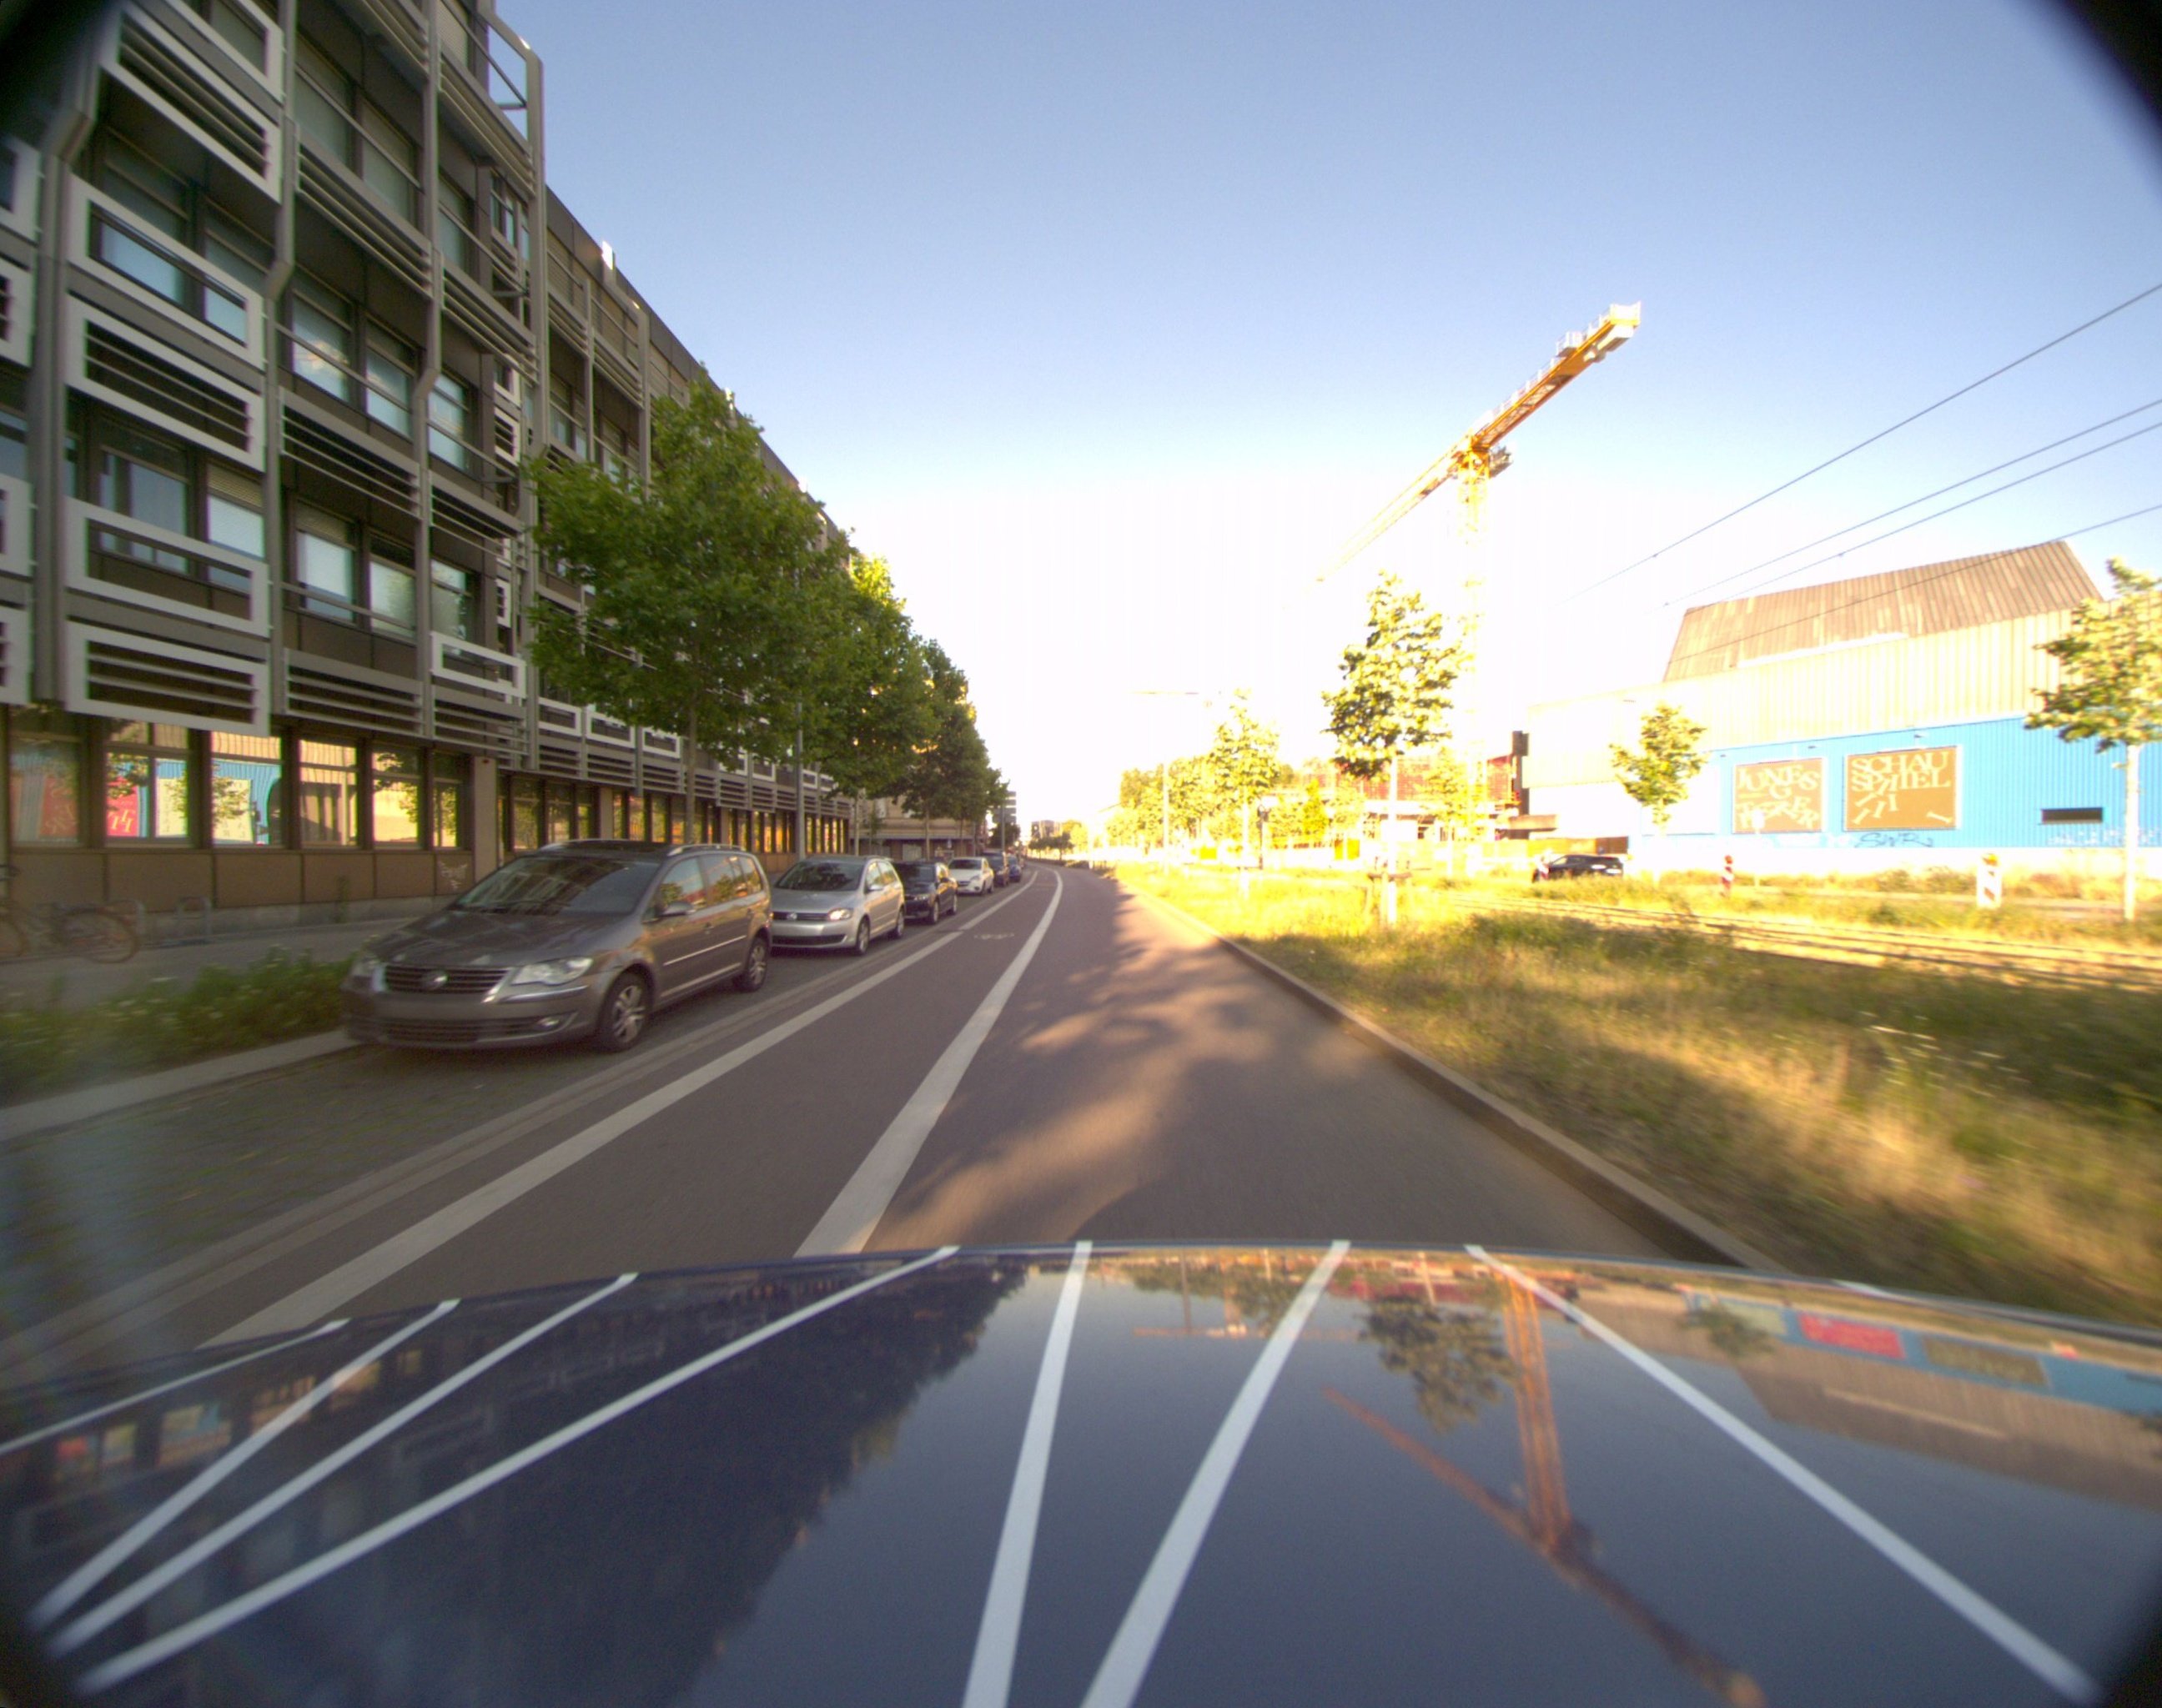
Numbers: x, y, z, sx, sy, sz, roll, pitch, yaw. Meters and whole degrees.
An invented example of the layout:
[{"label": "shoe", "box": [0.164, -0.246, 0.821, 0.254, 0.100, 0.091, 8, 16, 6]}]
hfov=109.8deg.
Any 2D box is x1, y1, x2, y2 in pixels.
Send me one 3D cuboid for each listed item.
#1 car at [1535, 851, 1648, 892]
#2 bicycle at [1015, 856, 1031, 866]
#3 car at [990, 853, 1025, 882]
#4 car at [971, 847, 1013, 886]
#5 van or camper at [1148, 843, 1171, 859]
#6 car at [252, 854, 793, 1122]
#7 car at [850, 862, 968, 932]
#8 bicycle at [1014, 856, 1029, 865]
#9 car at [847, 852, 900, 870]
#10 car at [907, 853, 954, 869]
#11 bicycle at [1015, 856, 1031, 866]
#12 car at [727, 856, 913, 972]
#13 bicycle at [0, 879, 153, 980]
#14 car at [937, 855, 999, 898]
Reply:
[{"label": "car", "box": [21.820, 0.694, 32.718, 1.999, 1.641, 4.270, 0, 0, 0]}, {"label": "bicycle", "box": [-6.790, 0.858, 88.459, 1.758, 1.098, 0.507, 2, 1, -1]}, {"label": "car", "box": [-4.528, 0.786, 46.795, 1.937, 1.589, 4.696, 2, 0, -6]}, {"label": "car", "box": [-4.569, 0.617, 39.691, 1.739, 1.908, 4.392, 2, 0, -2]}, {"label": "van or camper", "box": [12.919, -0.526, 126.061, 2.228, 2.495, 7.196, 2, 0, -6]}, {"label": "car", "box": [-4.445, 0.863, 7.139, 1.732, 1.678, 4.514, 2, 0, 0]}, {"label": "car", "box": [-4.072, 0.956, 18.729, 1.799, 1.440, 4.376, 2, 0, 1]}, {"label": "bicycle", "box": [-7.453, 0.850, 94.903, 1.809, 1.041, 0.566, 2, 1, -1]}, {"label": "car", "box": [-19.274, 0.599, 70.798, 4.556, 1.586, 1.861, -1, 1, -11]}, {"label": "car", "box": [-14.177, 0.625, 71.805, 4.276, 1.441, 1.861, -1, 1, -11]}, {"label": "bicycle", "box": [-6.826, 0.847, 89.032, 1.758, 1.098, 0.507, 2, 1, -1]}, {"label": "car", "box": [-4.254, 0.880, 13.151, 1.732, 1.612, 4.216, 2, 0, 0]}, {"label": "bicycle", "box": [-11.738, 0.845, 8.570, 1.905, 1.086, 0.392, 1, 1, -5]}, {"label": "car", "box": [-4.352, 0.822, 29.830, 1.668, 1.481, 4.204, 2, 0, 1]}]
